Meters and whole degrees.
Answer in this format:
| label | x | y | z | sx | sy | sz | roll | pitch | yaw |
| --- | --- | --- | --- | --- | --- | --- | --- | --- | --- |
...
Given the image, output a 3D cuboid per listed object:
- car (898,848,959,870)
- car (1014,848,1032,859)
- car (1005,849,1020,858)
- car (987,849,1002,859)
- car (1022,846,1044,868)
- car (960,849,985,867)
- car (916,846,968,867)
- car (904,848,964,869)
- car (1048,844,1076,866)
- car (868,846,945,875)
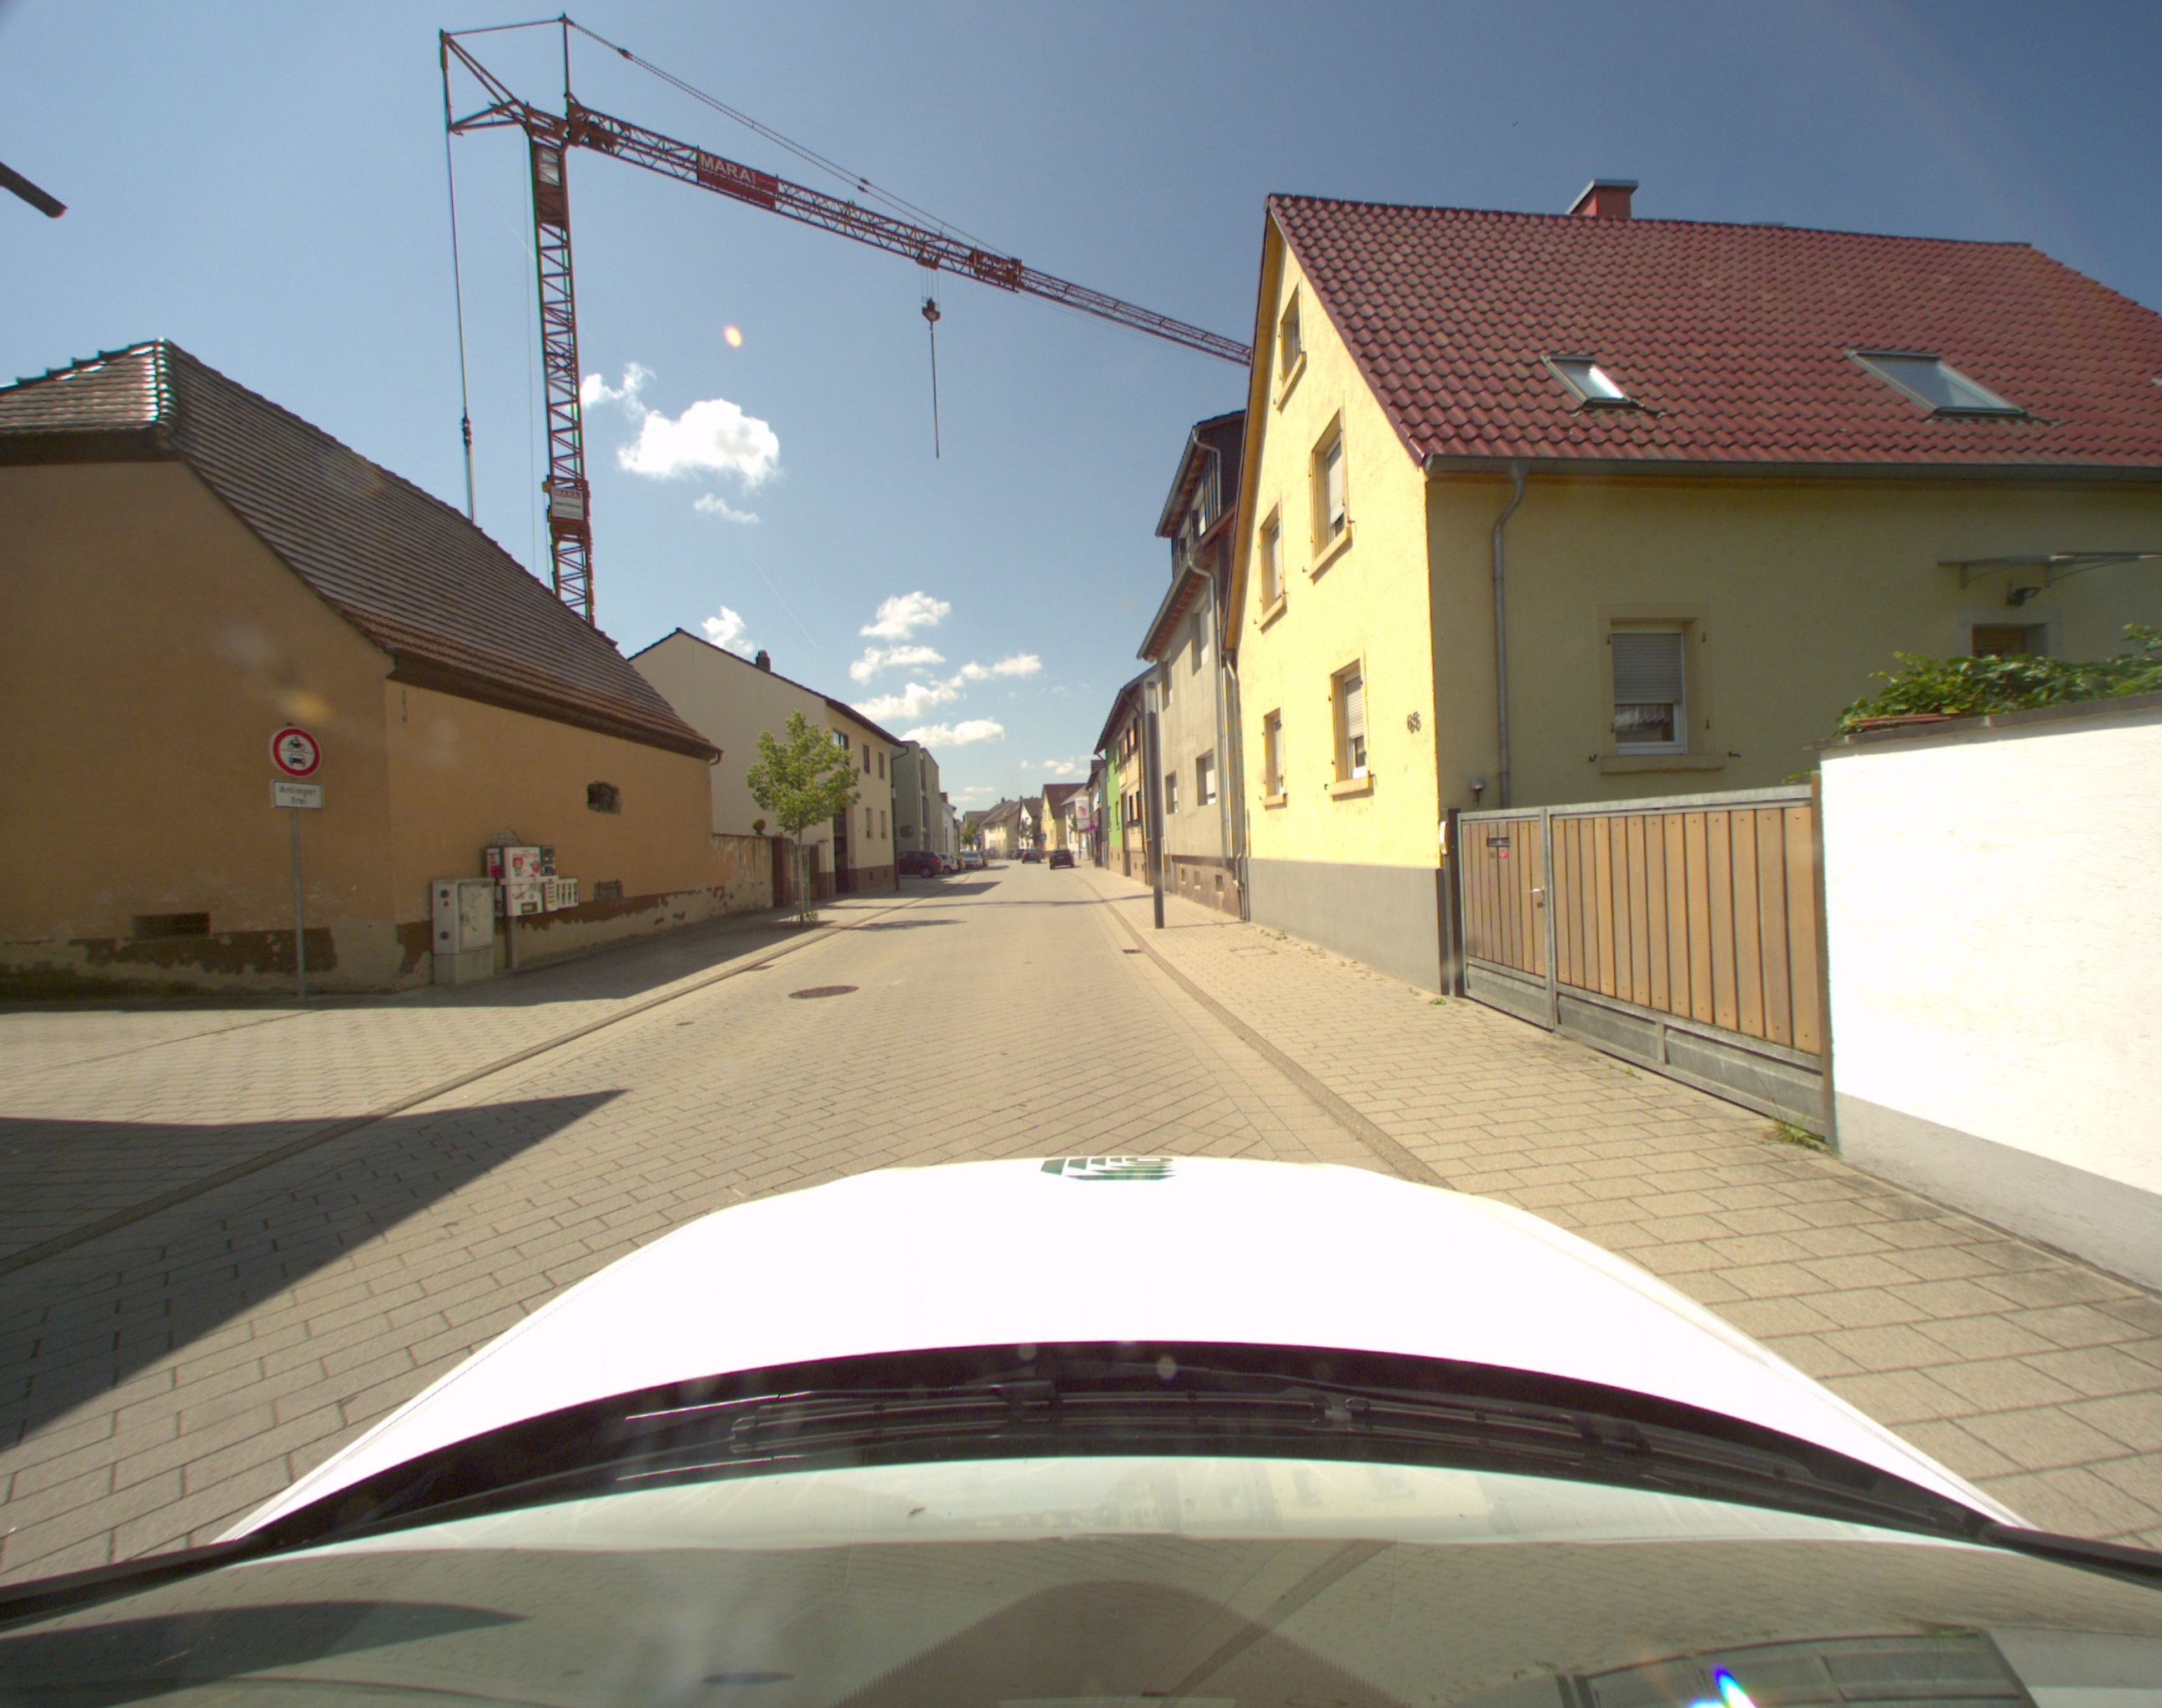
| label | x | y | z | sx | sy | sz | roll | pitch | yaw |
| --- | --- | --- | --- | --- | --- | --- | --- | --- | --- |
| car | -10.544 | 0.354 | 56.446 | 3.889 | 1.502 | 1.750 | 0 | 1 | -1 |
| car | -8.389 | -0.065 | 117.395 | 1.849 | 1.562 | 3.676 | -3 | 1 | -14 |
| car | -10.532 | -0.096 | 124.963 | 1.713 | 1.387 | 3.688 | -3 | 1 | -14 |
| car | -14.636 | 0.014 | 138.005 | 1.880 | 1.591 | 3.981 | -3 | 1 | -14 |
| car | -4.853 | 0.260 | 81.627 | 1.990 | 2.057 | 4.367 | -3 | 1 | -5 |
| car | -9.287 | 0.313 | 69.864 | 1.753 | 1.410 | 3.875 | -1 | 1 | -2 |
| car | -10.505 | 0.170 | 61.724 | 3.682 | 1.525 | 1.671 | 0 | 1 | -2 |
| car | -10.540 | 0.314 | 58.586 | 3.977 | 1.441 | 1.690 | 0 | 1 | -3 |
| car | -1.408 | 0.026 | 61.266 | 1.852 | 1.459 | 4.587 | -5 | 1 | 1 |
| car | -10.341 | 0.383 | 48.554 | 4.209 | 1.658 | 1.782 | -1 | 1 | -3 |
